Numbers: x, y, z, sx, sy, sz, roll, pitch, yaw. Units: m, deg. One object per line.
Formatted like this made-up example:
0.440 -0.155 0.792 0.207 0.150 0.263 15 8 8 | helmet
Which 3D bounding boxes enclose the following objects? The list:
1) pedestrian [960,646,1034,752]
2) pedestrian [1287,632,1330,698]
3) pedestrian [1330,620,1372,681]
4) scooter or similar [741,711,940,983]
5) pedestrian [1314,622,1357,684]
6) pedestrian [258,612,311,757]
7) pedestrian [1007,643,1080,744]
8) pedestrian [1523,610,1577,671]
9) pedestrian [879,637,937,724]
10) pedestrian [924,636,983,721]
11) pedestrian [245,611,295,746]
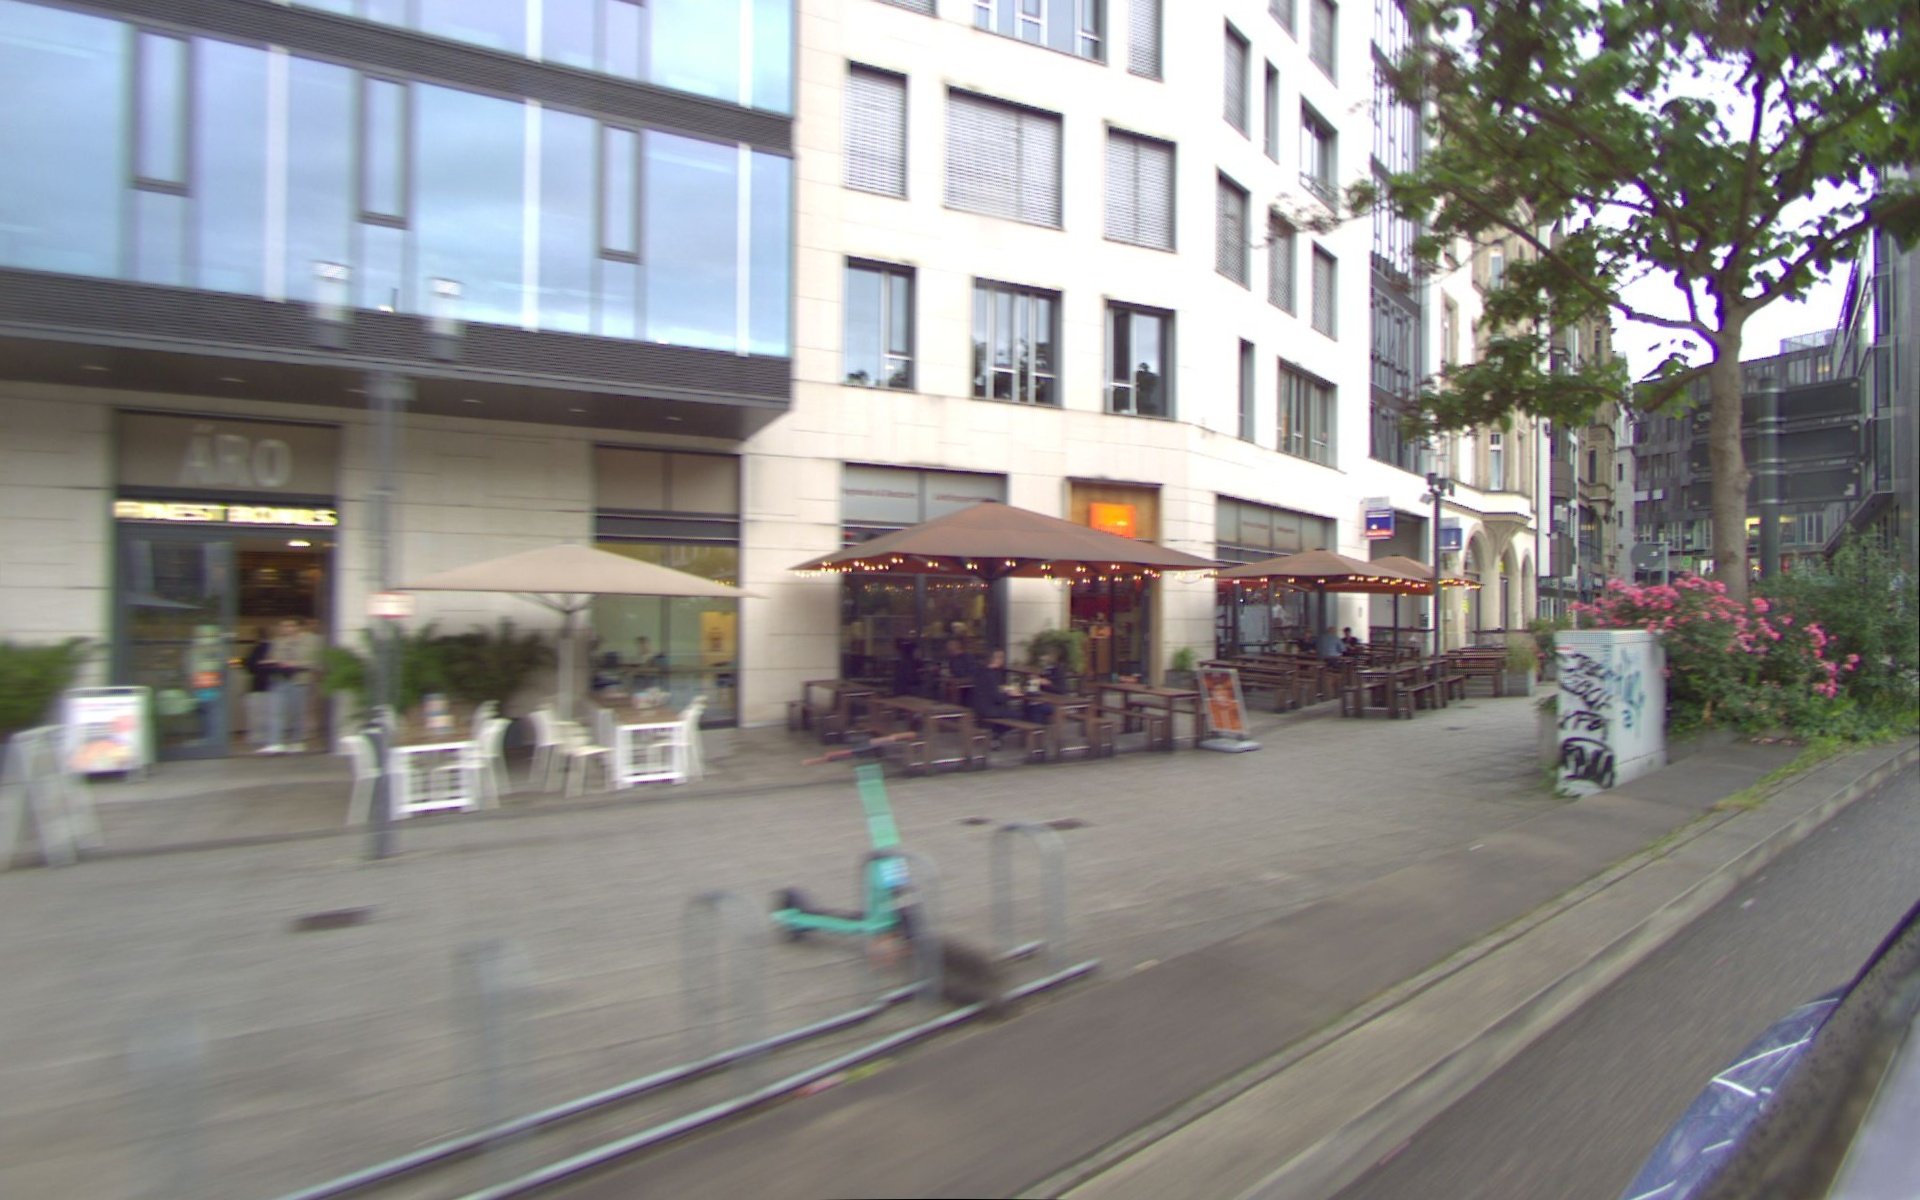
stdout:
0.494 1.308 13.608 0.623 1.344 0.820 -1 -3 -28 | pedestrian
7.380 1.366 21.428 0.626 1.344 0.626 -4 -3 42 | pedestrian
8.824 1.146 22.843 0.626 1.344 0.626 -4 -3 42 | pedestrian
-0.687 1.317 5.697 1.088 1.288 0.474 -2 -2 38 | scooter or similar
8.257 1.163 22.260 0.626 1.344 0.626 -4 -3 42 | pedestrian
-9.282 1.129 13.902 0.575 1.918 0.642 -1 0 -35 | pedestrian
1.163 1.283 14.156 0.623 1.344 0.820 -1 -3 -28 | pedestrian
13.337 0.919 22.902 0.623 1.344 0.777 -1 -3 -28 | pedestrian
-0.849 1.288 16.380 0.623 1.344 0.820 -1 -3 -28 | pedestrian
-0.121 1.287 16.738 0.623 1.344 0.820 -1 -3 -28 | pedestrian
-10.172 1.132 14.929 0.575 1.918 0.642 -1 0 -35 | pedestrian
